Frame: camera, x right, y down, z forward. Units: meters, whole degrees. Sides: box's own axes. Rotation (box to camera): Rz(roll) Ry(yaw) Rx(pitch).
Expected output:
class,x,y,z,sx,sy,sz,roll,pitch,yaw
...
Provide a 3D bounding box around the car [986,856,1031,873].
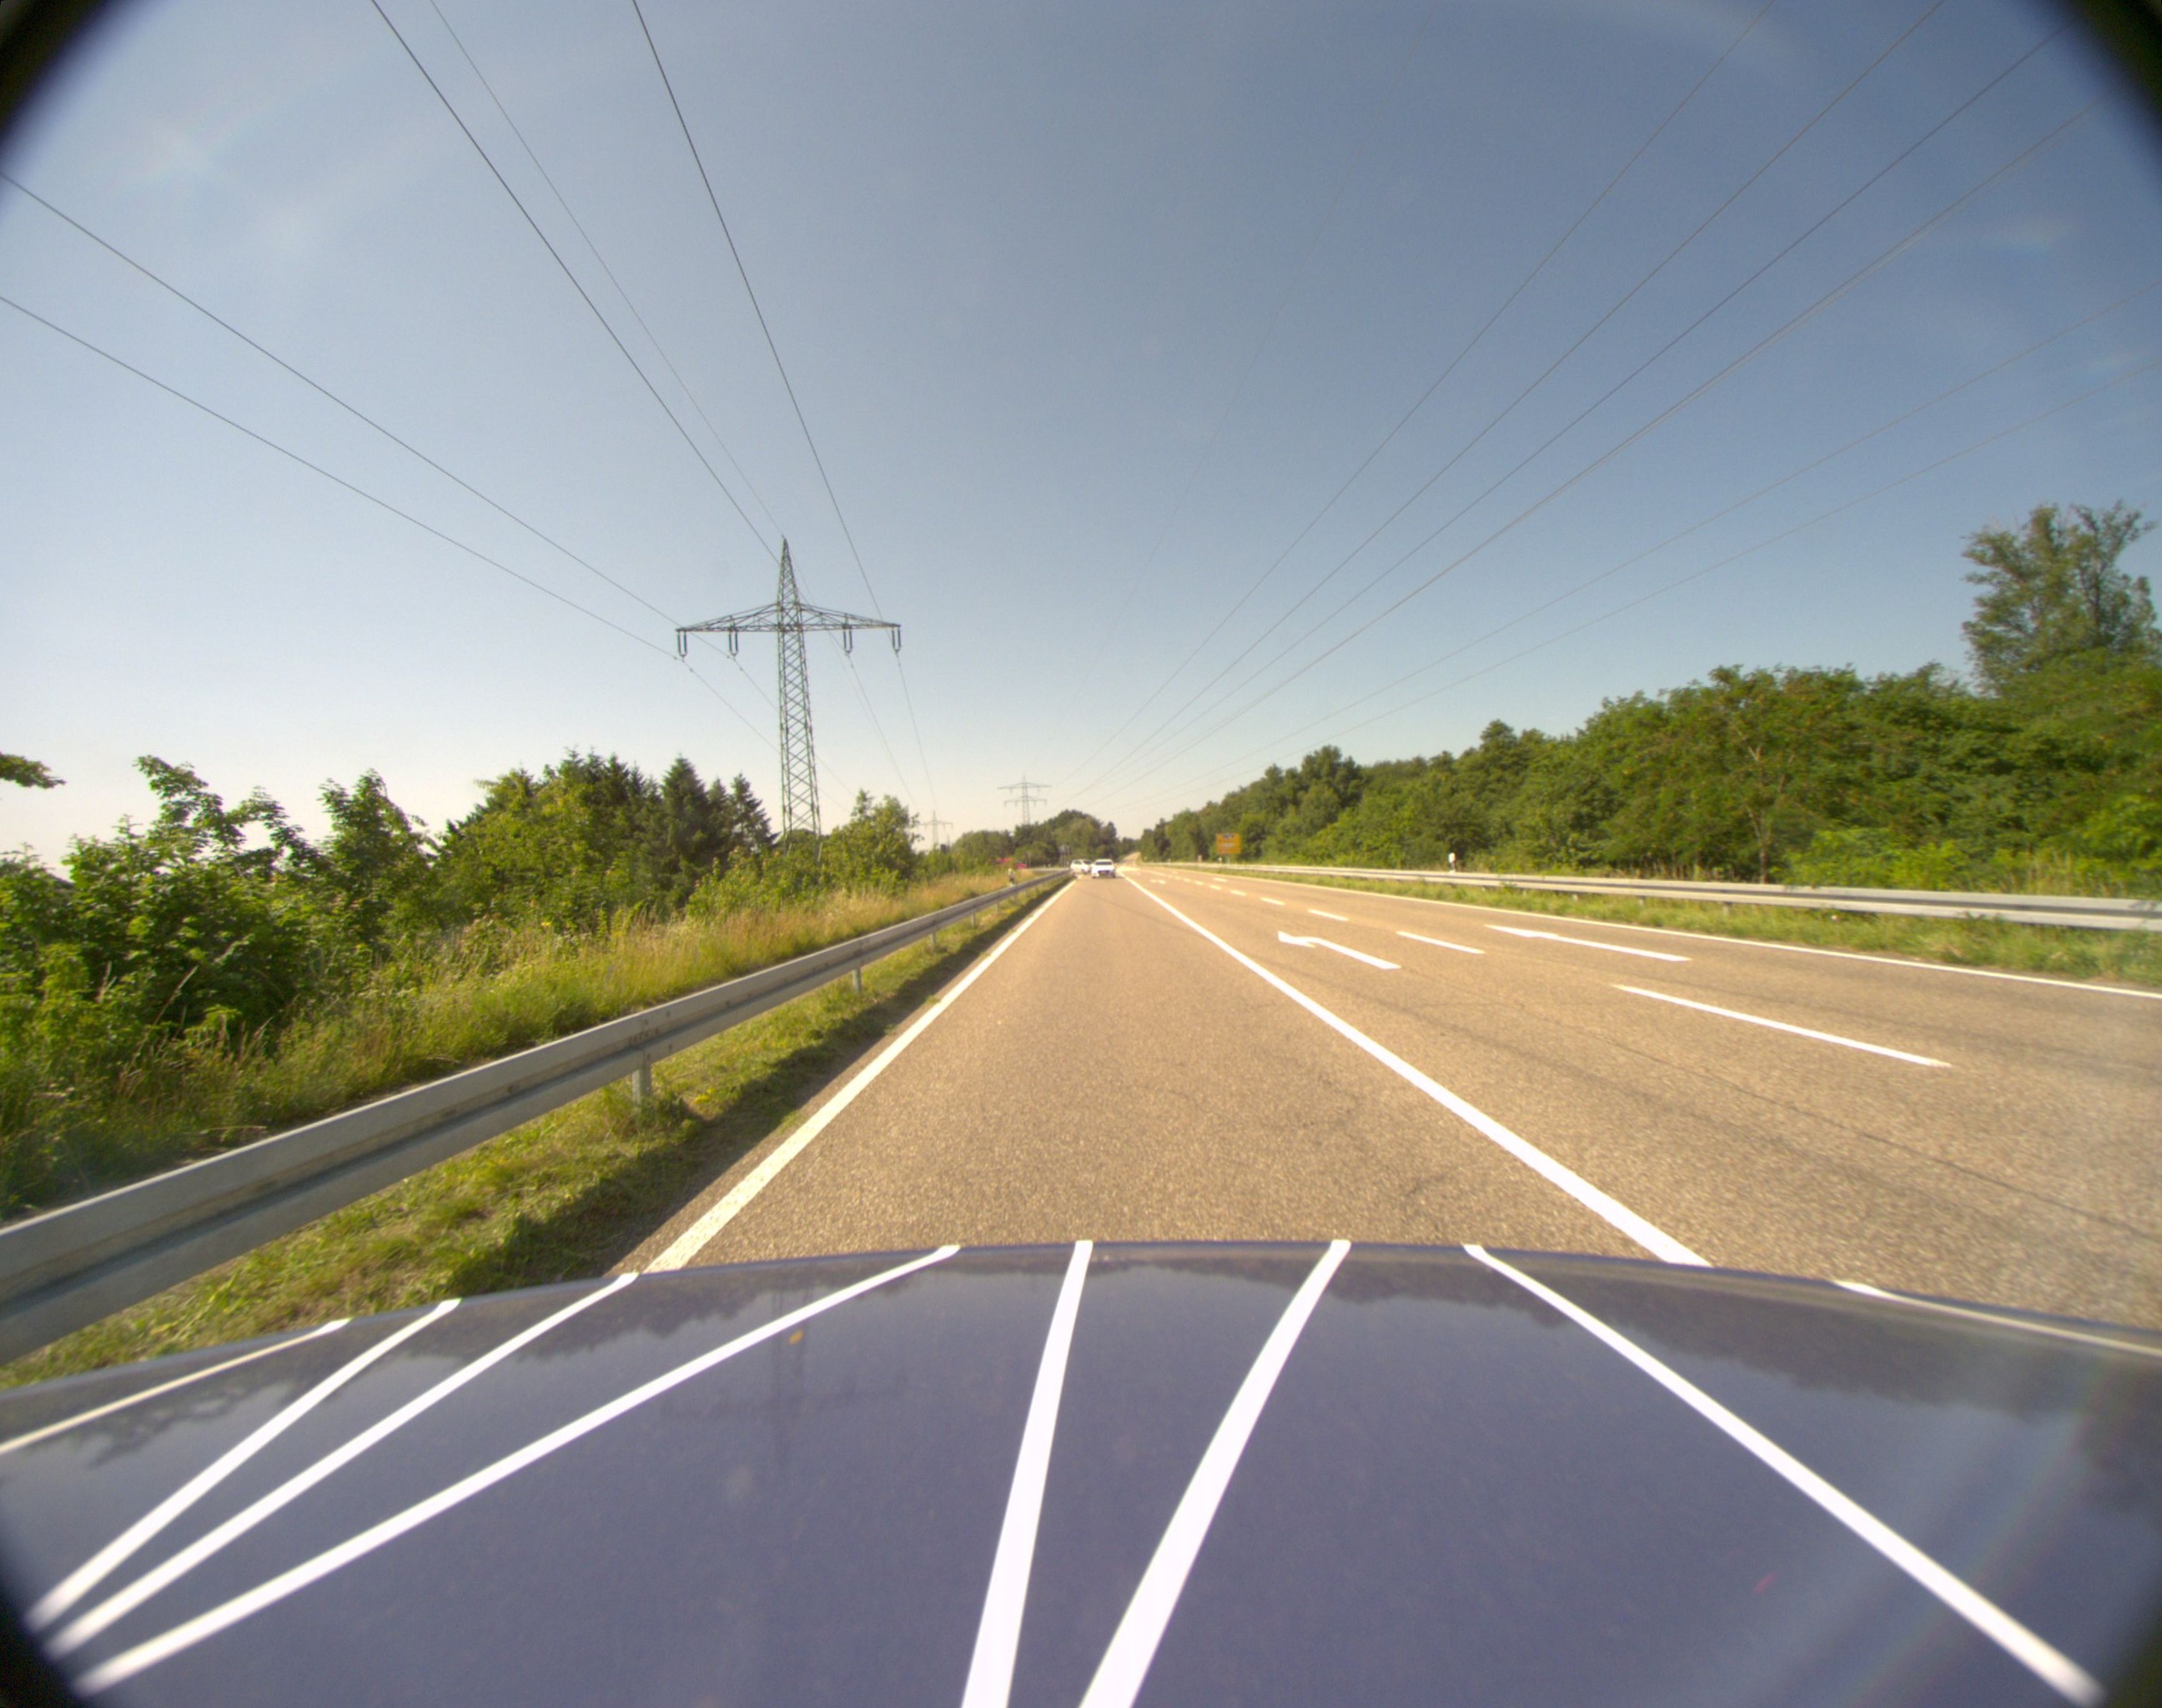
class,x,y,z,sx,sy,sz,roll,pitch,yaw
car,-8.316,1.239,87.665,4.828,1.892,1.798,-1,0,16

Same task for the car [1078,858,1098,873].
class,x,y,z,sx,sy,sz,roll,pitch,yaw
car,0.737,1.175,80.390,1.550,1.460,3.658,-2,0,-8

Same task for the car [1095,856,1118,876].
class,x,y,z,sx,sy,sz,roll,pitch,yaw
car,2.014,0.929,61.342,1.683,1.472,4.473,-1,0,0
